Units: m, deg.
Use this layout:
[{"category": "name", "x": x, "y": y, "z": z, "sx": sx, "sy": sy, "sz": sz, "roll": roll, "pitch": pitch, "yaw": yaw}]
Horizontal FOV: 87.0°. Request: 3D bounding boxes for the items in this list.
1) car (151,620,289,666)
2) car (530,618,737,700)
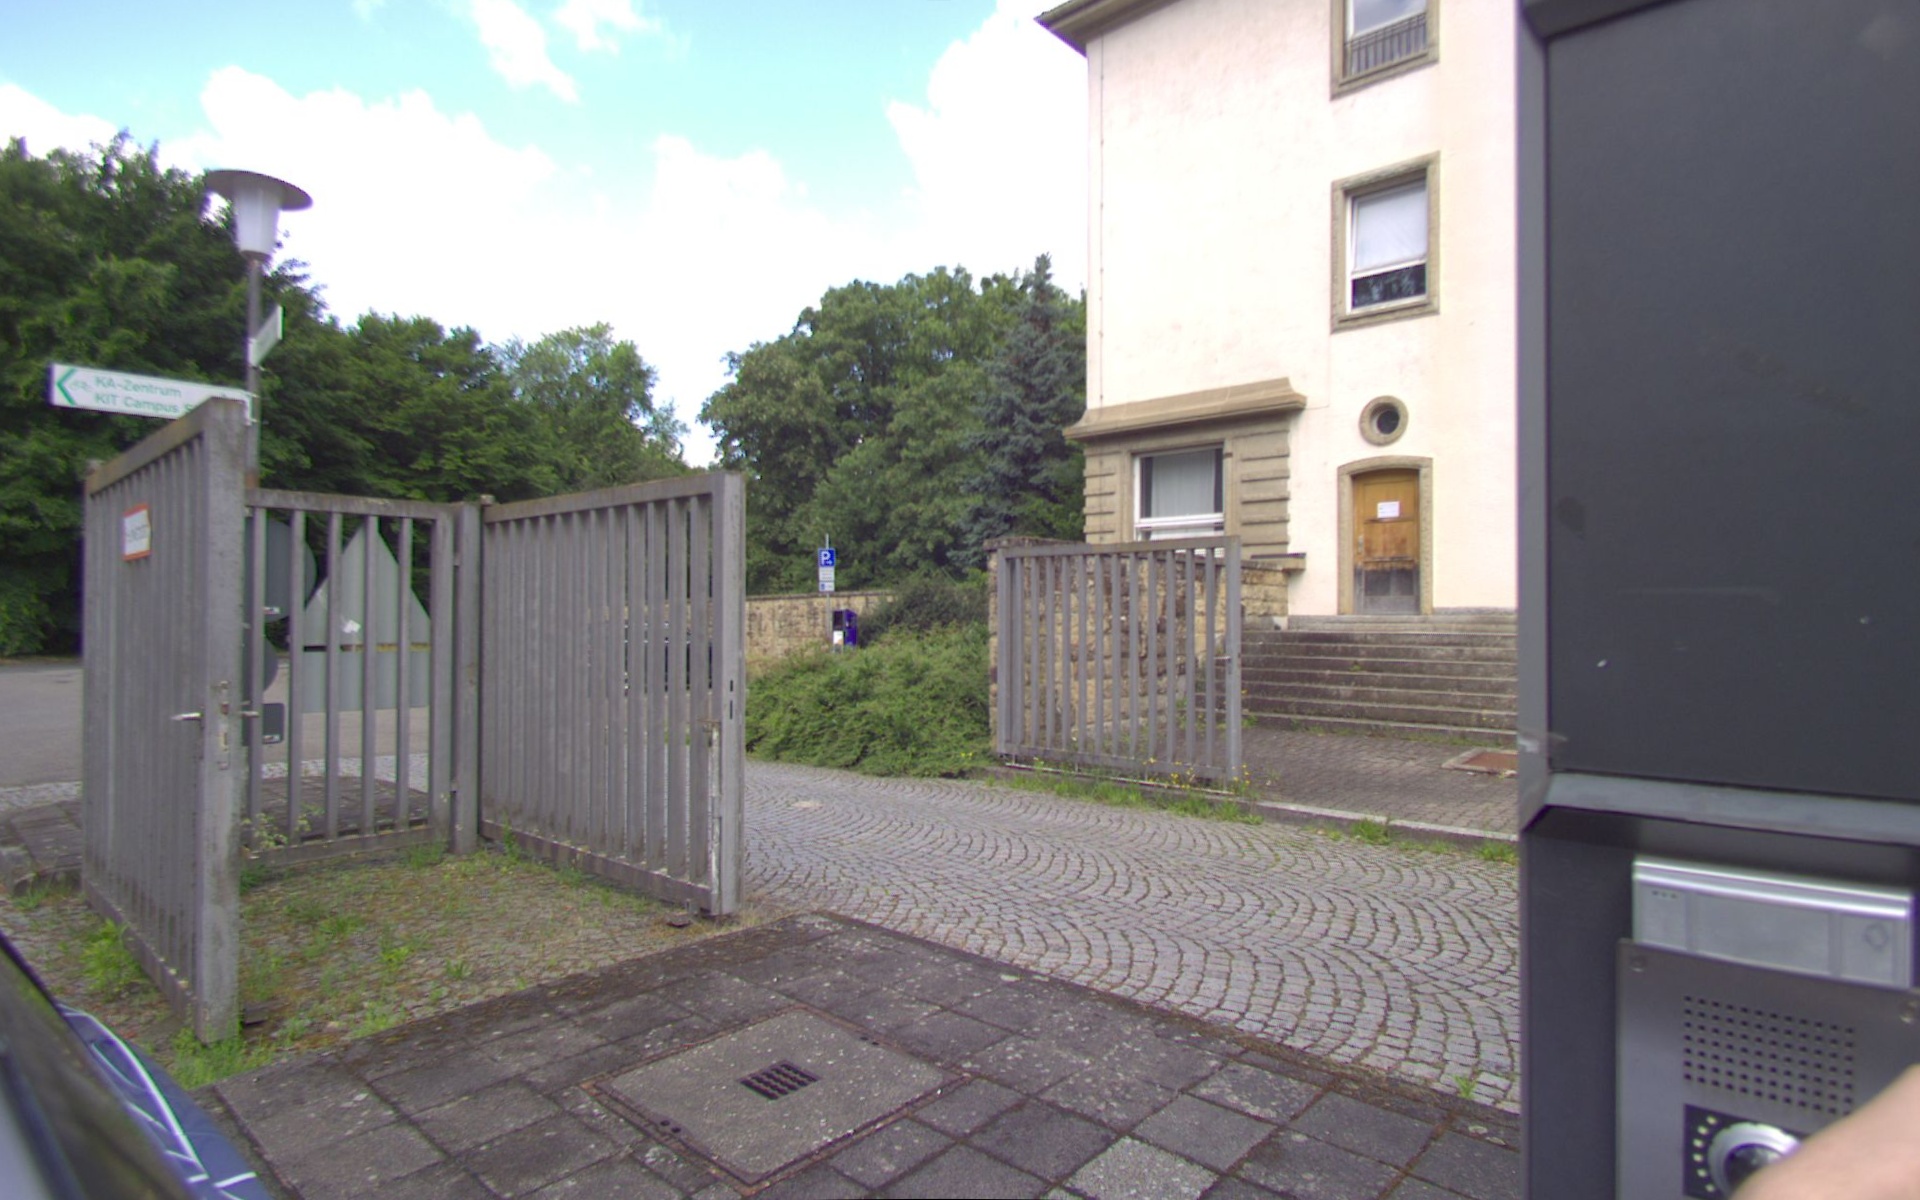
[{"category": "car", "x": -28.716, "y": 1.636, "z": 39.414, "sx": 1.982, "sy": 1.697, "sz": 3.979, "roll": -1, "pitch": -2, "yaw": 16}, {"category": "car", "x": -7.177, "y": 1.240, "z": 22.499, "sx": 1.900, "sy": 1.558, "sz": 3.942, "roll": -2, "pitch": -1, "yaw": 44}]
